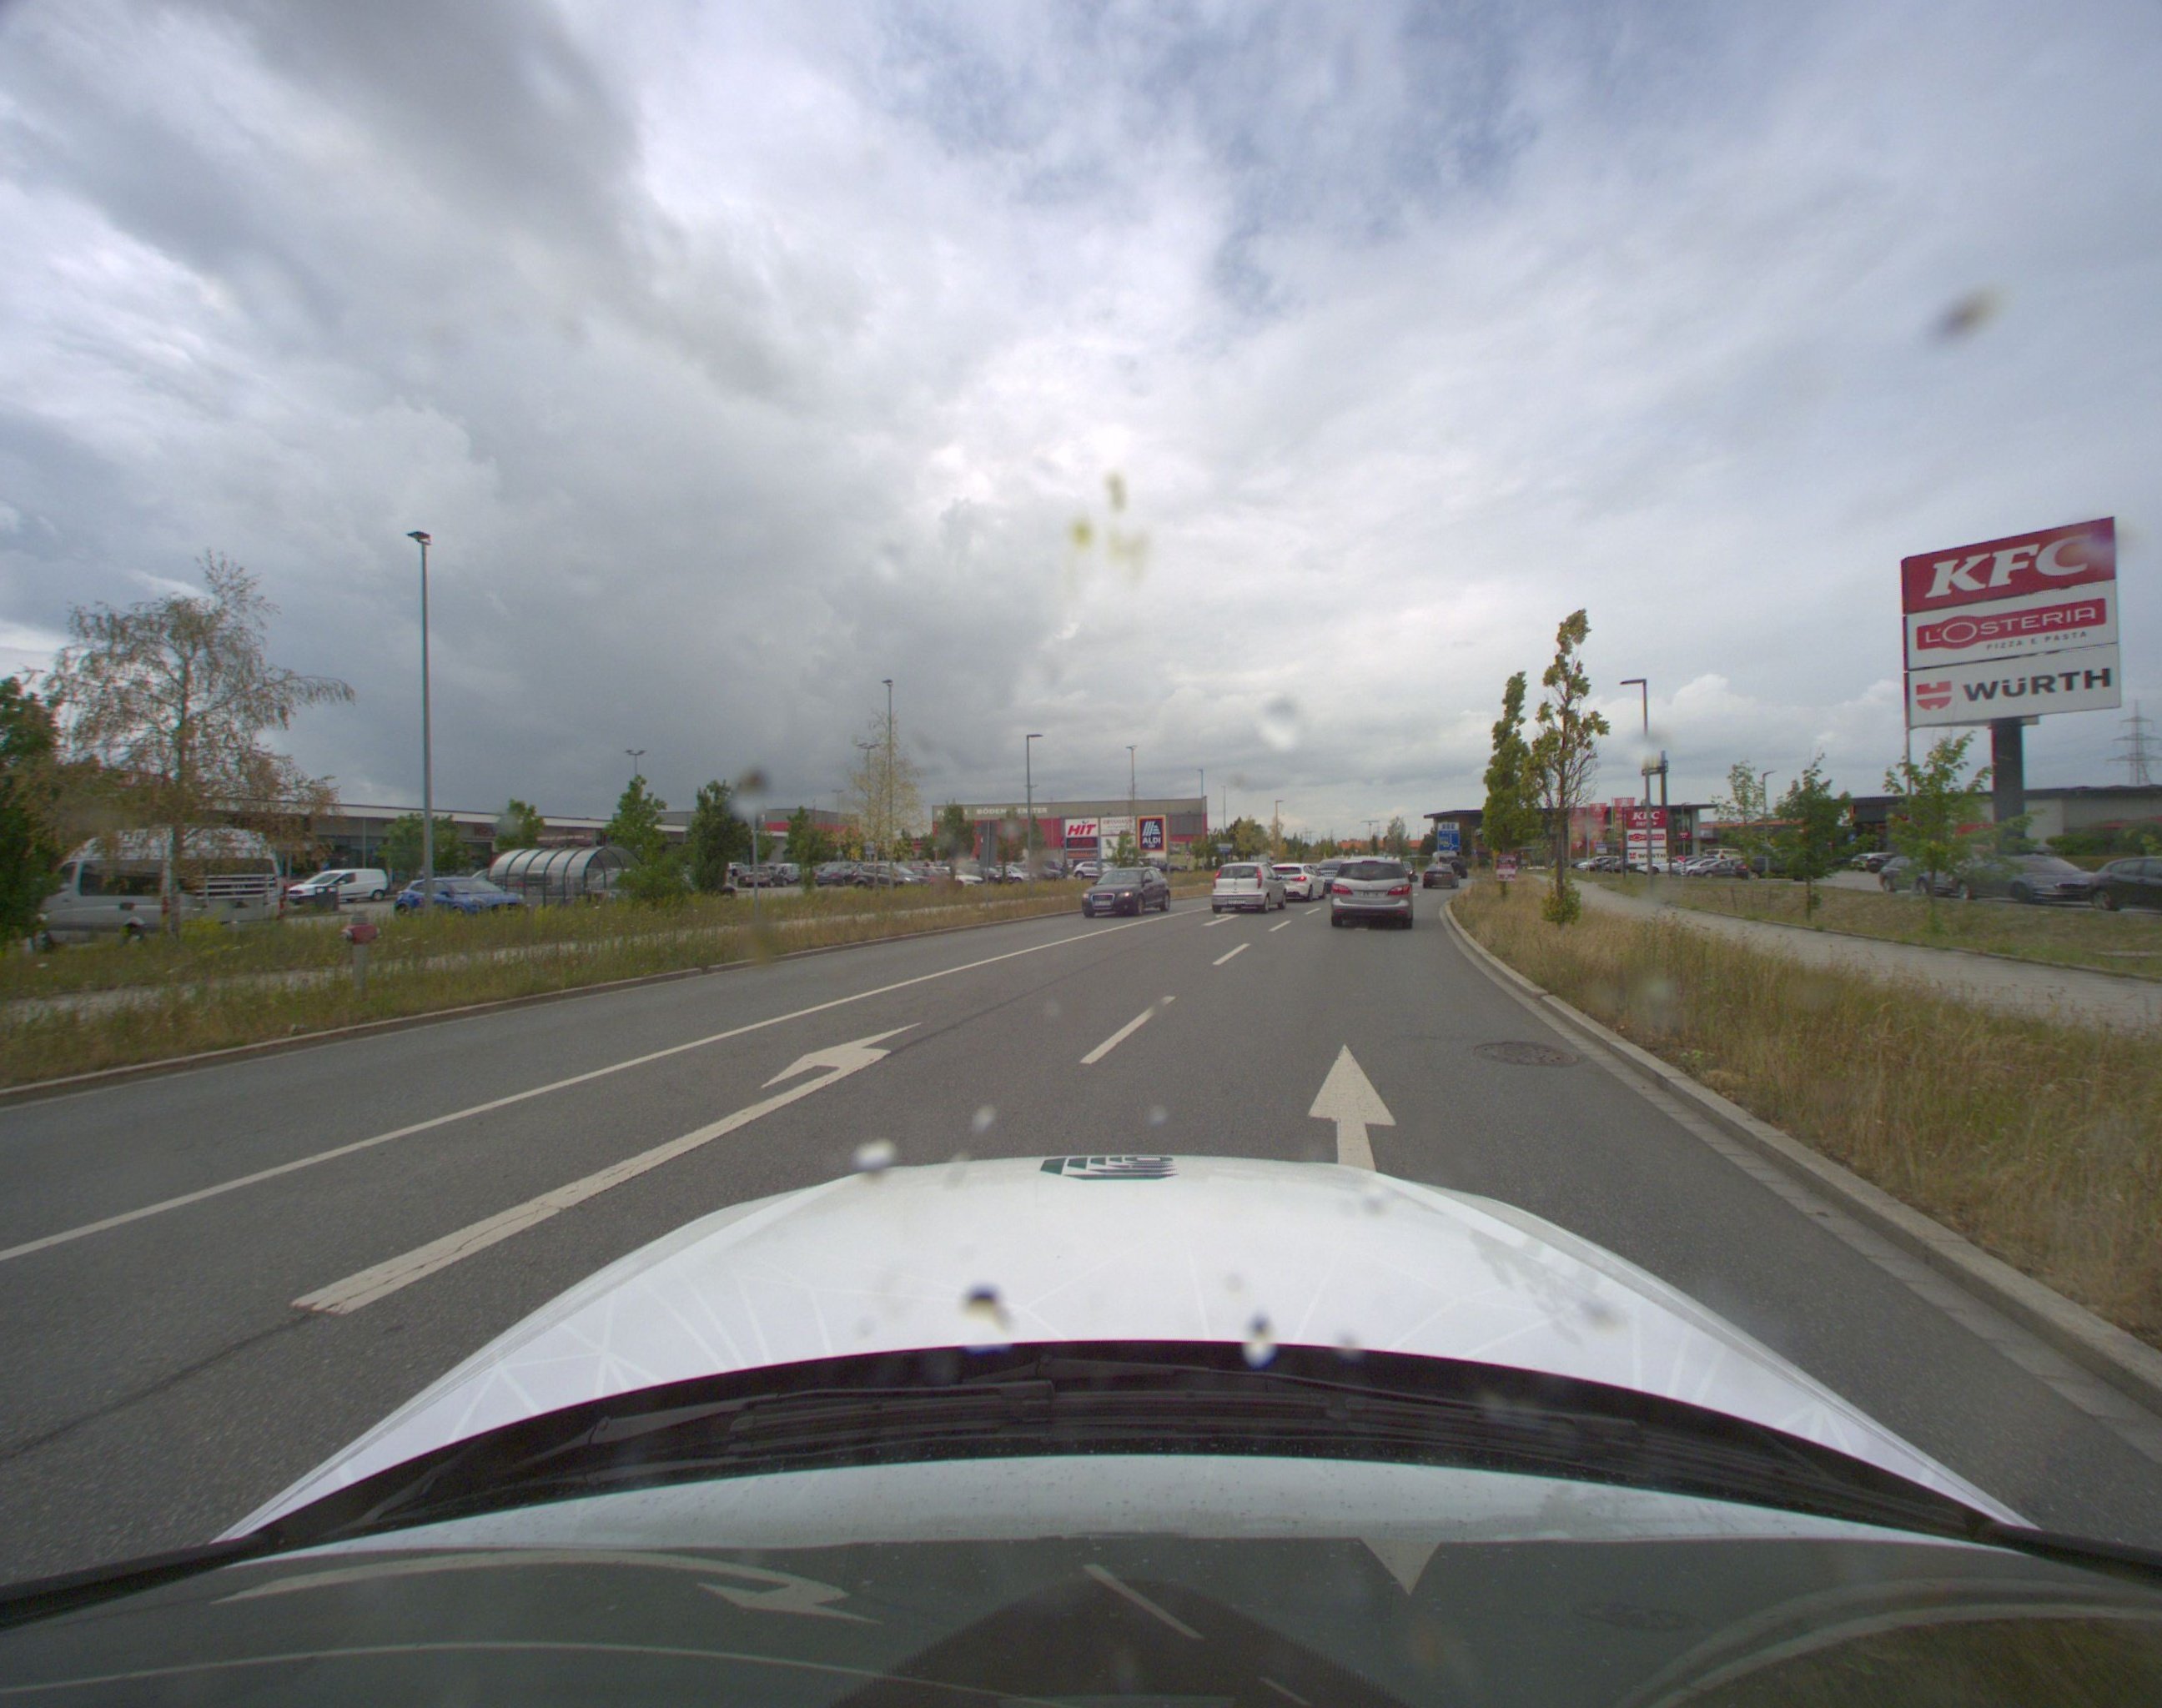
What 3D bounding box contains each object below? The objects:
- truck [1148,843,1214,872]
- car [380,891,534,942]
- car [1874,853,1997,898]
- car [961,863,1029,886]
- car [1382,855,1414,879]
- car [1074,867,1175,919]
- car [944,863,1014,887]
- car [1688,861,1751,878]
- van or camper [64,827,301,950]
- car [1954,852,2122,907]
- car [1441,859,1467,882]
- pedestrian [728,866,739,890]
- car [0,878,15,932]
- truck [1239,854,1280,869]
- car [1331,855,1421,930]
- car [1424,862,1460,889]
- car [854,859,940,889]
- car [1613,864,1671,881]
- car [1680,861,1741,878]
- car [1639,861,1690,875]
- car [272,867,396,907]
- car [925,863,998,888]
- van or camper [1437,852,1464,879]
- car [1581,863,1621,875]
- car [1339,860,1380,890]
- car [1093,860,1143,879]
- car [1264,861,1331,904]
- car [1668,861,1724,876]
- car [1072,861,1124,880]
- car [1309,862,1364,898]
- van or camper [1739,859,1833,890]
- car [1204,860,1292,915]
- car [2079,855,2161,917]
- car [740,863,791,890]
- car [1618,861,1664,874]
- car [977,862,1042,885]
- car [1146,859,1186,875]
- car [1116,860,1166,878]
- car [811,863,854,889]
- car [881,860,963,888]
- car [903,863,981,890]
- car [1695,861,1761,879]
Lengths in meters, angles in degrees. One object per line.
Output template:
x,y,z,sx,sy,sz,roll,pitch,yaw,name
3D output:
10.963,0.325,88.700,8.231,2.945,2.646,-1,-1,-45,truck
-19.119,1.909,24.956,4.101,1.384,1.819,-2,-1,21,car
31.049,0.748,29.757,1.695,1.499,4.023,-2,-1,25,car
-5.463,1.293,51.945,3.770,1.390,1.924,-1,0,20,car
22.457,0.896,57.548,1.886,1.568,4.360,-2,-1,24,car
1.412,1.134,24.793,1.753,1.384,4.172,-2,-1,22,car
-6.223,1.281,49.864,3.770,1.390,1.924,-1,0,20,car
49.031,1.210,62.606,3.559,1.244,1.639,-2,-1,27,car
-20.232,0.780,18.384,3.953,2.492,2.302,-2,-1,21,van or camper
28.562,0.716,24.505,1.695,1.499,4.023,-2,-1,25,car
32.831,1.459,71.681,1.975,1.924,4.875,-2,-1,25,car
-23.306,1.626,54.585,0.512,1.577,0.503,-1,-1,1,pedestrian
-35.117,1.617,24.829,3.956,1.653,1.828,-2,0,16,car
35.605,1.506,162.666,7.617,2.916,2.370,-2,-1,24,truck
7.097,0.810,19.419,1.799,1.563,4.424,0,0,22,car
20.098,1.182,45.408,1.737,1.386,4.325,-1,0,24,car
-9.328,1.004,41.288,3.770,1.390,1.924,-1,0,20,car
43.805,1.410,63.645,3.559,1.244,1.639,-2,-1,27,car
49.908,1.217,64.680,3.559,1.244,1.639,-2,-1,27,car
53.070,1.276,74.094,3.559,1.244,1.639,-2,-1,27,car
-37.876,1.628,41.459,1.983,1.819,4.435,-2,-1,6,car
-6.993,1.270,47.713,3.770,1.390,1.924,-1,0,20,car
37.375,1.172,82.335,2.169,2.541,6.202,-2,-1,26,van or camper
57.314,1.653,89.894,3.559,1.244,1.639,-2,-1,27,car
15.779,1.147,45.980,1.886,1.568,4.359,-2,-1,23,car
3.173,1.325,69.498,3.796,1.428,1.752,-2,-1,23,car
8.285,1.037,30.878,1.779,1.450,4.272,-2,0,23,car
52.045,1.222,69.018,3.559,1.244,1.639,-2,-1,27,car
1.390,1.373,66.411,3.795,1.428,1.752,-2,-1,24,car
12.107,1.191,38.443,1.788,1.508,4.912,-2,0,25,car
42.622,1.263,49.338,3.950,1.794,1.832,-2,-1,25,van or camper
5.082,0.958,24.457,1.779,1.461,3.837,-2,0,23,car
25.811,0.729,18.844,1.722,1.362,4.022,-2,-1,23,car
-22.214,1.575,57.430,1.987,1.734,4.000,-1,0,0,car
55.239,1.313,80.383,3.559,1.244,1.639,-2,-1,27,car
-4.703,1.301,53.864,3.770,1.390,1.924,-1,0,20,car
8.370,1.252,80.103,3.807,1.428,1.746,-1,-1,8,car
5.407,1.335,73.287,3.953,1.442,2.010,-2,-1,20,car
-17.229,1.505,56.621,1.752,1.653,3.835,-1,0,0,car
-8.503,1.079,43.596,3.770,1.390,1.924,-1,0,20,car
-7.758,1.245,45.544,3.770,1.390,1.924,-1,0,20,car
47.934,1.208,60.423,3.559,1.244,1.639,-2,-1,27,car
